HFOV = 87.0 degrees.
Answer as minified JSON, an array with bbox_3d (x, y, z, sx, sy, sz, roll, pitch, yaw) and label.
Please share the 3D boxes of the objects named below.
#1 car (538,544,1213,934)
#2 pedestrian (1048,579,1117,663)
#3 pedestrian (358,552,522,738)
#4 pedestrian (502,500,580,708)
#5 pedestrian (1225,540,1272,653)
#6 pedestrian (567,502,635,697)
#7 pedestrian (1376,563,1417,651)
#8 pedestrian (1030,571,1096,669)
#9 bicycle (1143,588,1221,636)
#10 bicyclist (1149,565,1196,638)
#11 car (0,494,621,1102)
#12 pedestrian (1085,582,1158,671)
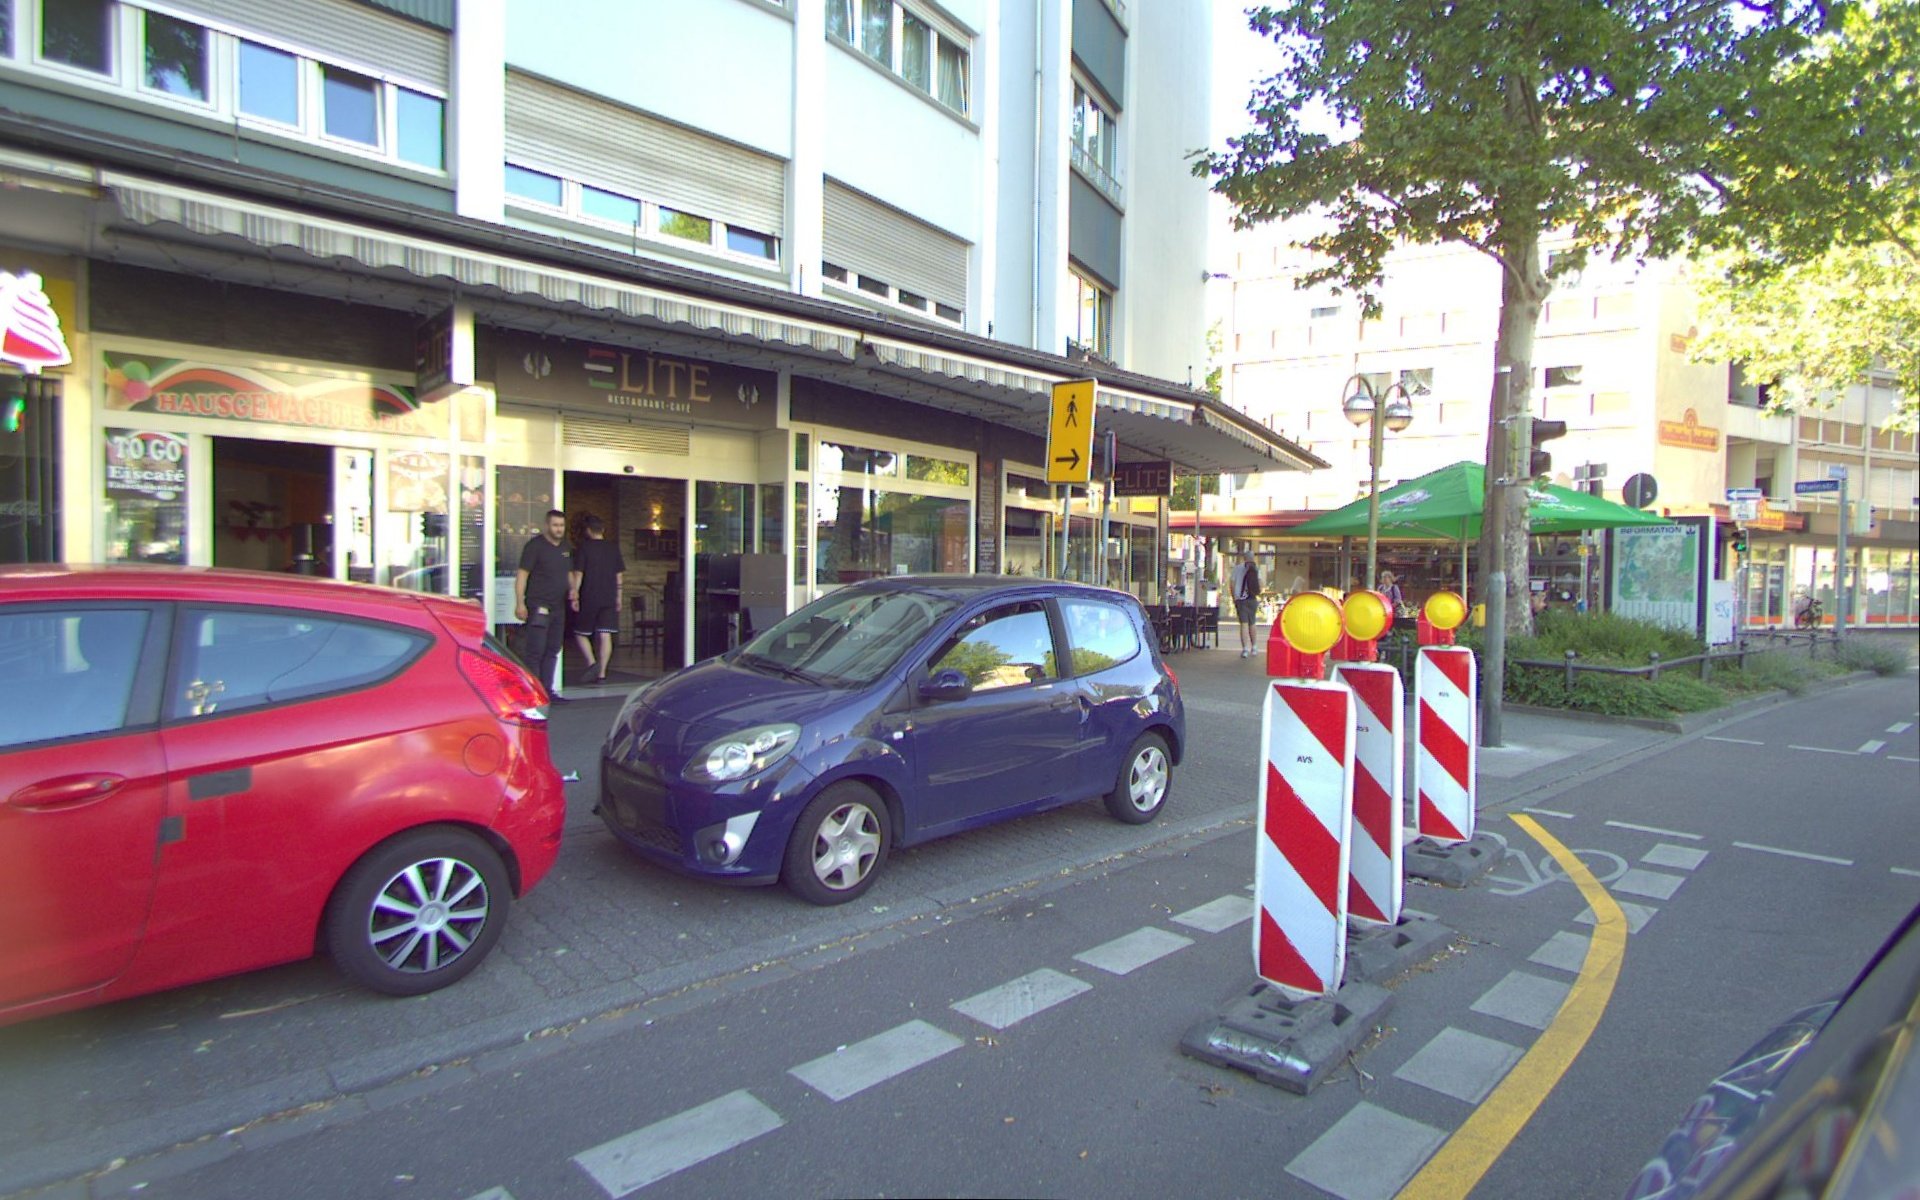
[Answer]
[{"bbox_3d":[-0.310,0.506,5.883,3.551,1.485,1.769,-1,5,-44],"label":"car"},{"bbox_3d":[1.831,0.299,15.189,0.776,1.207,0.648,0,2,-34],"label":"pedestrian"},{"bbox_3d":[-4.155,0.304,8.071,0.937,1.352,1.069,0,2,-42],"label":"pedestrian"},{"bbox_3d":[-3.773,0.019,9.105,0.547,1.800,0.395,-1,4,-43],"label":"pedestrian"},{"bbox_3d":[5.235,-0.074,18.340,0.642,1.983,0.881,1,1,27],"label":"pedestrian"},{"bbox_3d":[-3.391,-0.008,9.572,0.545,1.803,0.397,1,3,-11],"label":"pedestrian"},{"bbox_3d":[8.472,0.122,19.650,0.624,1.657,0.525,2,1,34],"label":"pedestrian"},{"bbox_3d":[1.438,0.266,14.245,0.685,1.323,0.793,1,1,-13],"label":"pedestrian"},{"bbox_3d":[5.673,0.285,25.981,0.739,1.144,1.883,1,1,-41],"label":"bicycle"},{"bbox_3d":[5.496,0.019,26.186,0.740,1.849,0.924,0,1,-41],"label":"bicyclist"},{"bbox_3d":[-3.273,0.472,3.203,3.761,1.614,1.784,-1,5,-45],"label":"car"},{"bbox_3d":[2.297,0.357,14.441,0.685,1.207,0.881,0,1,-18],"label":"pedestrian"}]
